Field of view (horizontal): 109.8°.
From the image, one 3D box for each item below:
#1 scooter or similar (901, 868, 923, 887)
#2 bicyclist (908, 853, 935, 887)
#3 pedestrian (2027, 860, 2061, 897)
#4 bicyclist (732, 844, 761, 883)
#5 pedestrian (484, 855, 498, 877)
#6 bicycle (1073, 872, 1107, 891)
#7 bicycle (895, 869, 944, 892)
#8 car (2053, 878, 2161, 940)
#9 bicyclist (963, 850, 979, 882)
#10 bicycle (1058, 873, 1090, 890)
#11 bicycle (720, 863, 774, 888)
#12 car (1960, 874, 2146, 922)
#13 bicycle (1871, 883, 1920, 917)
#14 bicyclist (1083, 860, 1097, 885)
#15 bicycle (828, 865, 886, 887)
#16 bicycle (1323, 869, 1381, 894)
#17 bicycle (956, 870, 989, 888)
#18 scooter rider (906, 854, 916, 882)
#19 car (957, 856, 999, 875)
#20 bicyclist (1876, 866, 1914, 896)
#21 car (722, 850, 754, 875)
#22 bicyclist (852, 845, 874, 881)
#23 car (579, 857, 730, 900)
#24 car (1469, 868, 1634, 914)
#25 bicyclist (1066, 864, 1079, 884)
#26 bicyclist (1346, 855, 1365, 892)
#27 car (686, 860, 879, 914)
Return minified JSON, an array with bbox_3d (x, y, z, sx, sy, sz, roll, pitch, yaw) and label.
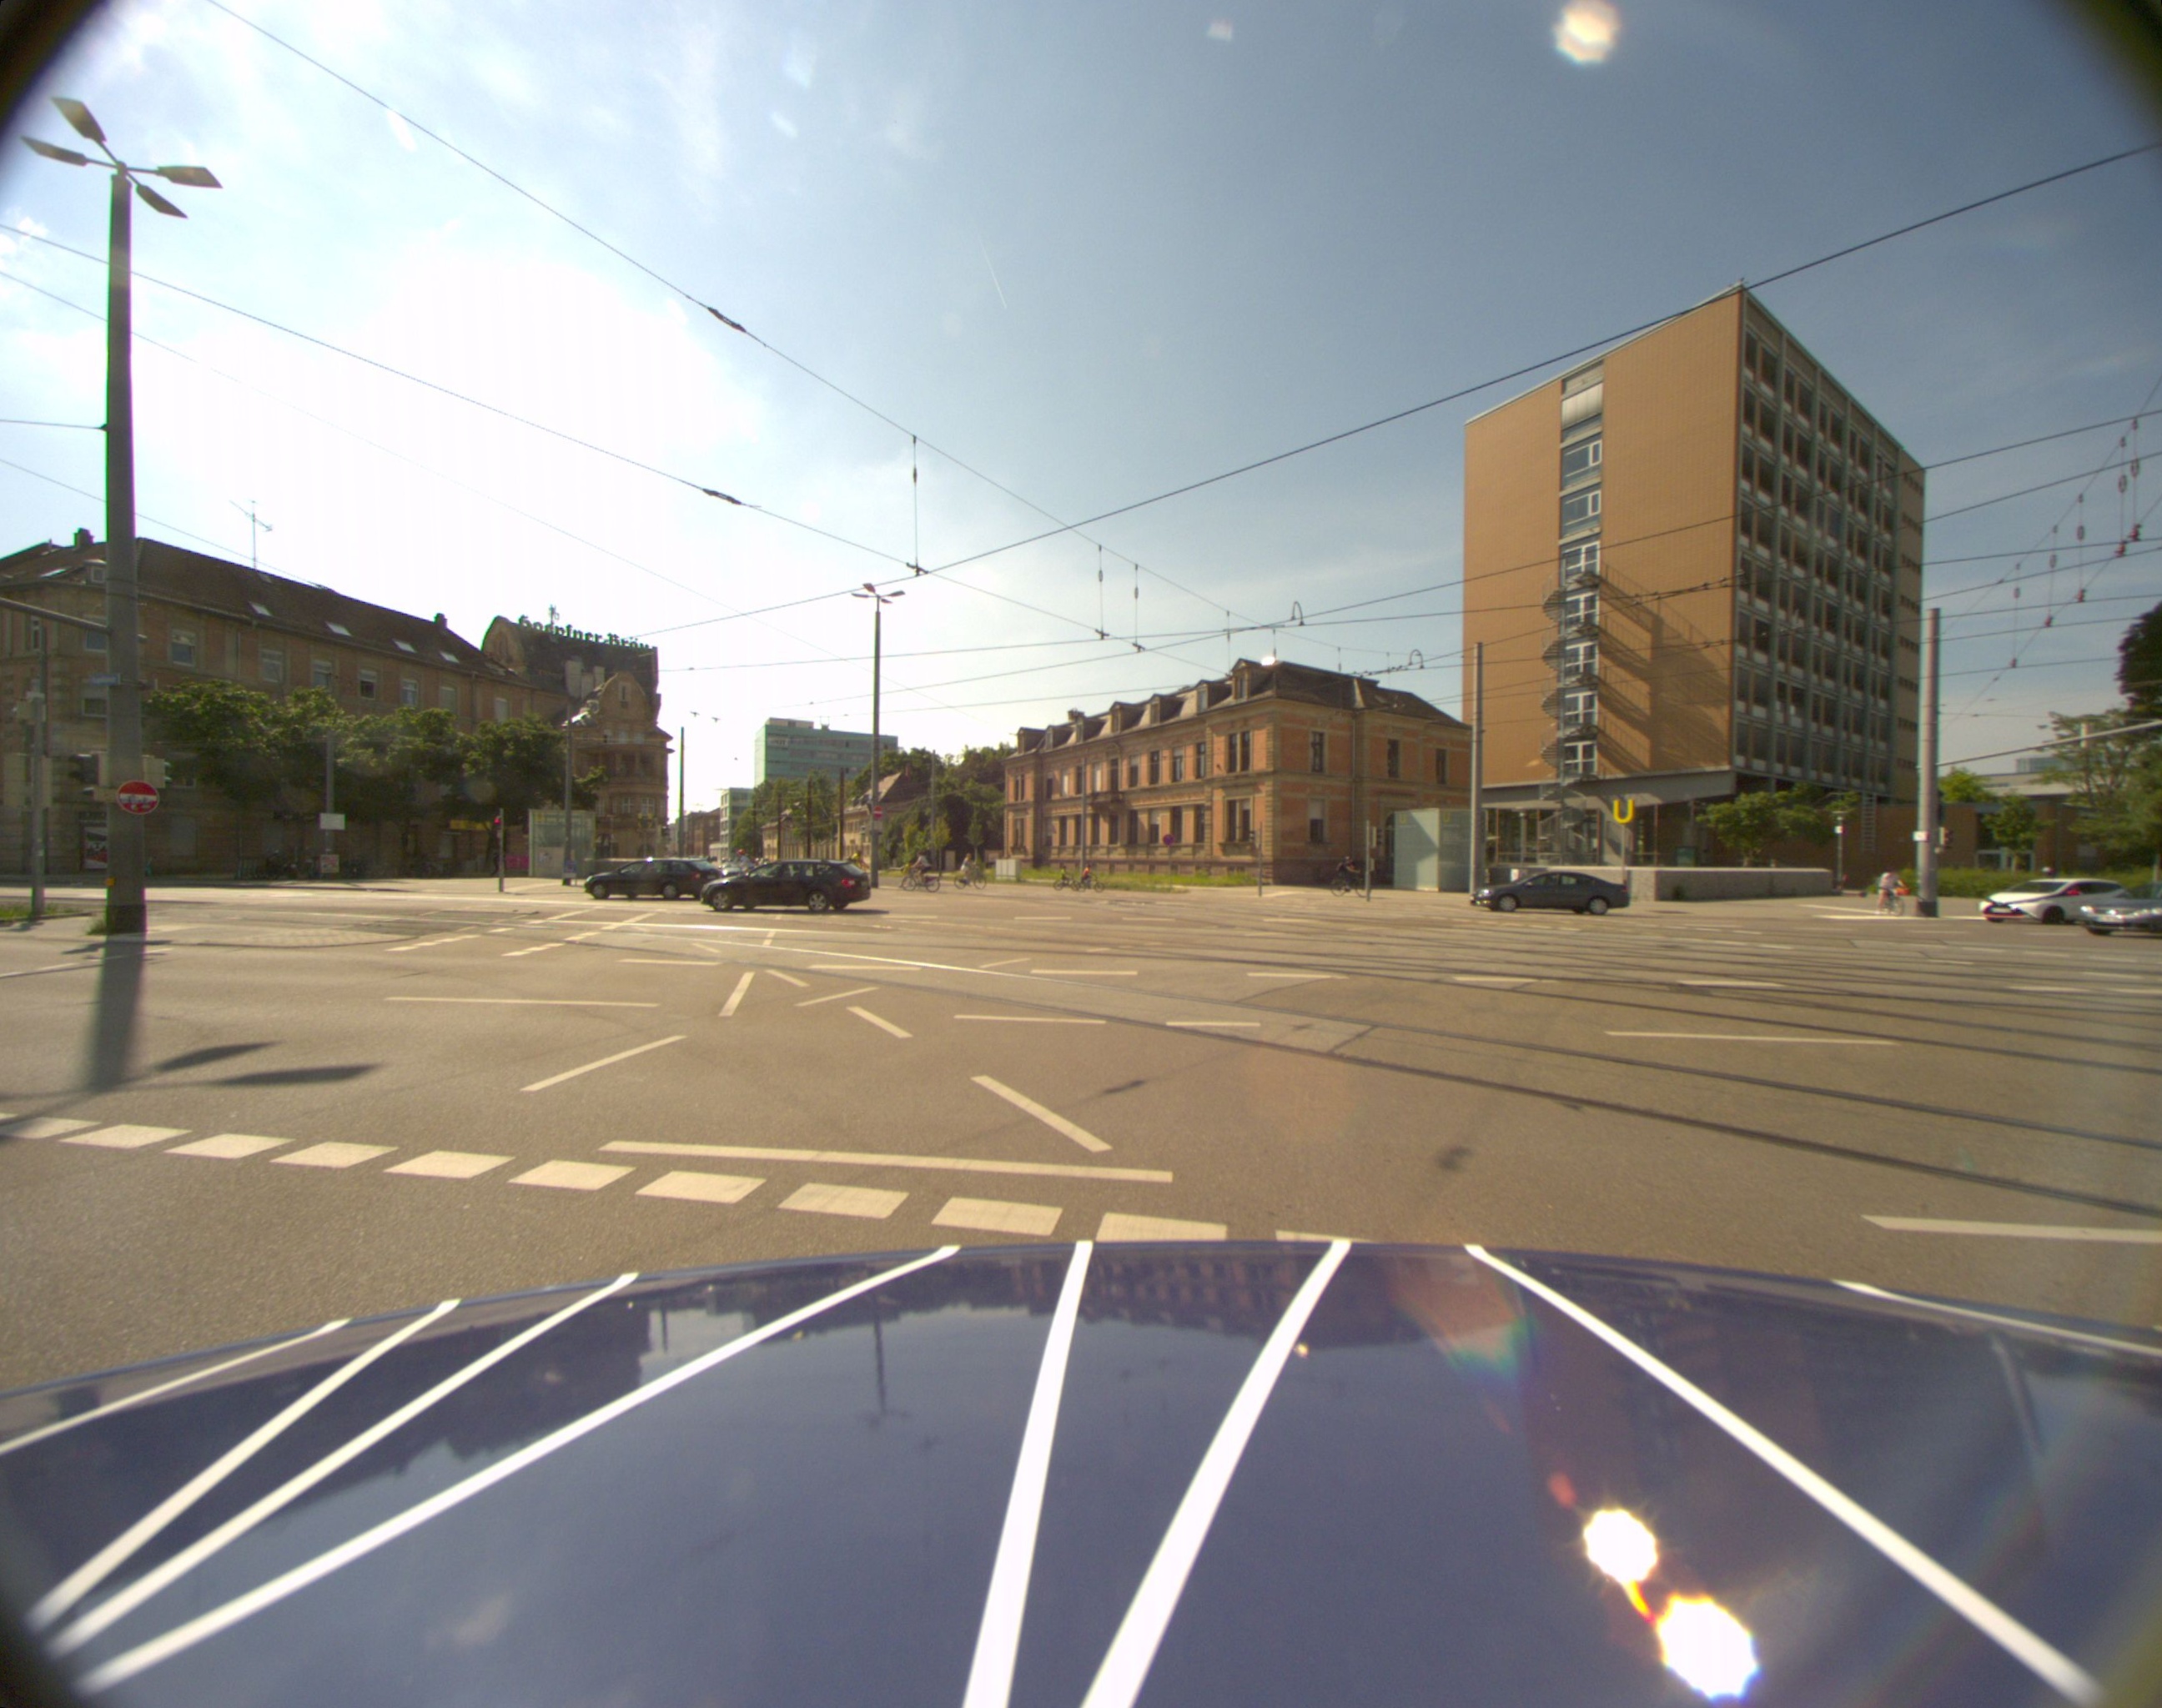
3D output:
[{"bbox_3d":[-8.650,1.203,38.818,0.991,0.970,0.588,0,-2,-2],"label":"scooter or similar"},{"bbox_3d":[-7.053,0.712,33.686,0.948,1.478,0.717,-1,-2,15],"label":"bicyclist"},{"bbox_3d":[44.023,1.122,34.731,0.731,1.655,0.593,0,2,-2],"label":"pedestrian"},{"bbox_3d":[-14.247,0.399,32.404,0.873,1.660,0.716,0,3,6],"label":"bicyclist"},{"bbox_3d":[-38.585,0.787,49.705,0.714,1.424,0.612,1,-2,-39],"label":"pedestrian"},{"bbox_3d":[0.441,1.322,36.619,1.575,0.881,0.520,1,0,-5],"label":"bicycle"},{"bbox_3d":[-7.161,1.184,33.699,2.017,1.009,0.717,-1,-2,15],"label":"bicycle"},{"bbox_3d":[27.174,1.336,18.798,4.117,1.416,1.651,0,0,0],"label":"car"},{"bbox_3d":[-5.553,0.614,38.422,0.649,1.611,0.502,1,-2,4],"label":"bicyclist"},{"bbox_3d":[-0.337,1.386,38.179,1.586,0.860,0.502,1,-2,-3],"label":"bicycle"},{"bbox_3d":[-14.257,0.903,32.436,2.018,1.010,0.716,0,2,6],"label":"bicycle"},{"bbox_3d":[31.085,1.386,24.379,3.757,1.465,1.683,0,-2,0],"label":"car"},{"bbox_3d":[29.361,1.638,27.420,0.714,1.010,1.922,1,3,32],"label":"bicycle"},{"bbox_3d":[0.409,0.907,36.690,0.603,1.190,0.520,1,0,-5],"label":"bicyclist"},{"bbox_3d":[-11.204,1.094,38.075,2.749,1.062,0.928,0,-2,-19],"label":"bicycle"},{"bbox_3d":[12.336,1.232,34.651,2.457,1.063,0.670,0,0,21],"label":"bicycle"},{"bbox_3d":[-5.480,1.261,38.398,1.585,0.860,0.502,1,-2,4],"label":"bicycle"},{"bbox_3d":[-8.686,0.718,38.839,0.406,1.388,0.588,0,-1,-2],"label":"scooter rider"},{"bbox_3d":[-7.501,0.807,55.091,1.675,1.305,3.443,0,0,-35],"label":"car"},{"bbox_3d":[29.390,0.966,27.451,0.714,1.023,0.918,1,3,32],"label":"bicyclist"},{"bbox_3d":[-21.829,0.521,48.462,1.640,1.574,3.992,0,0,-21],"label":"car"},{"bbox_3d":[-10.955,0.465,38.157,1.053,1.809,0.928,0,-2,-16],"label":"bicyclist"},{"bbox_3d":[-14.750,0.814,26.413,4.392,1.421,1.706,0,1,7],"label":"car"},{"bbox_3d":[16.049,1.234,26.157,4.520,1.427,1.638,0,0,13],"label":"car"},{"bbox_3d":[-0.419,1.002,38.189,0.605,1.023,0.502,1,-2,-3],"label":"bicyclist"},{"bbox_3d":[12.489,0.877,34.559,0.781,1.615,0.670,1,2,21],"label":"bicyclist"},{"bbox_3d":[-8.282,0.896,21.337,4.775,1.427,1.636,0,0,2],"label":"car"}]
